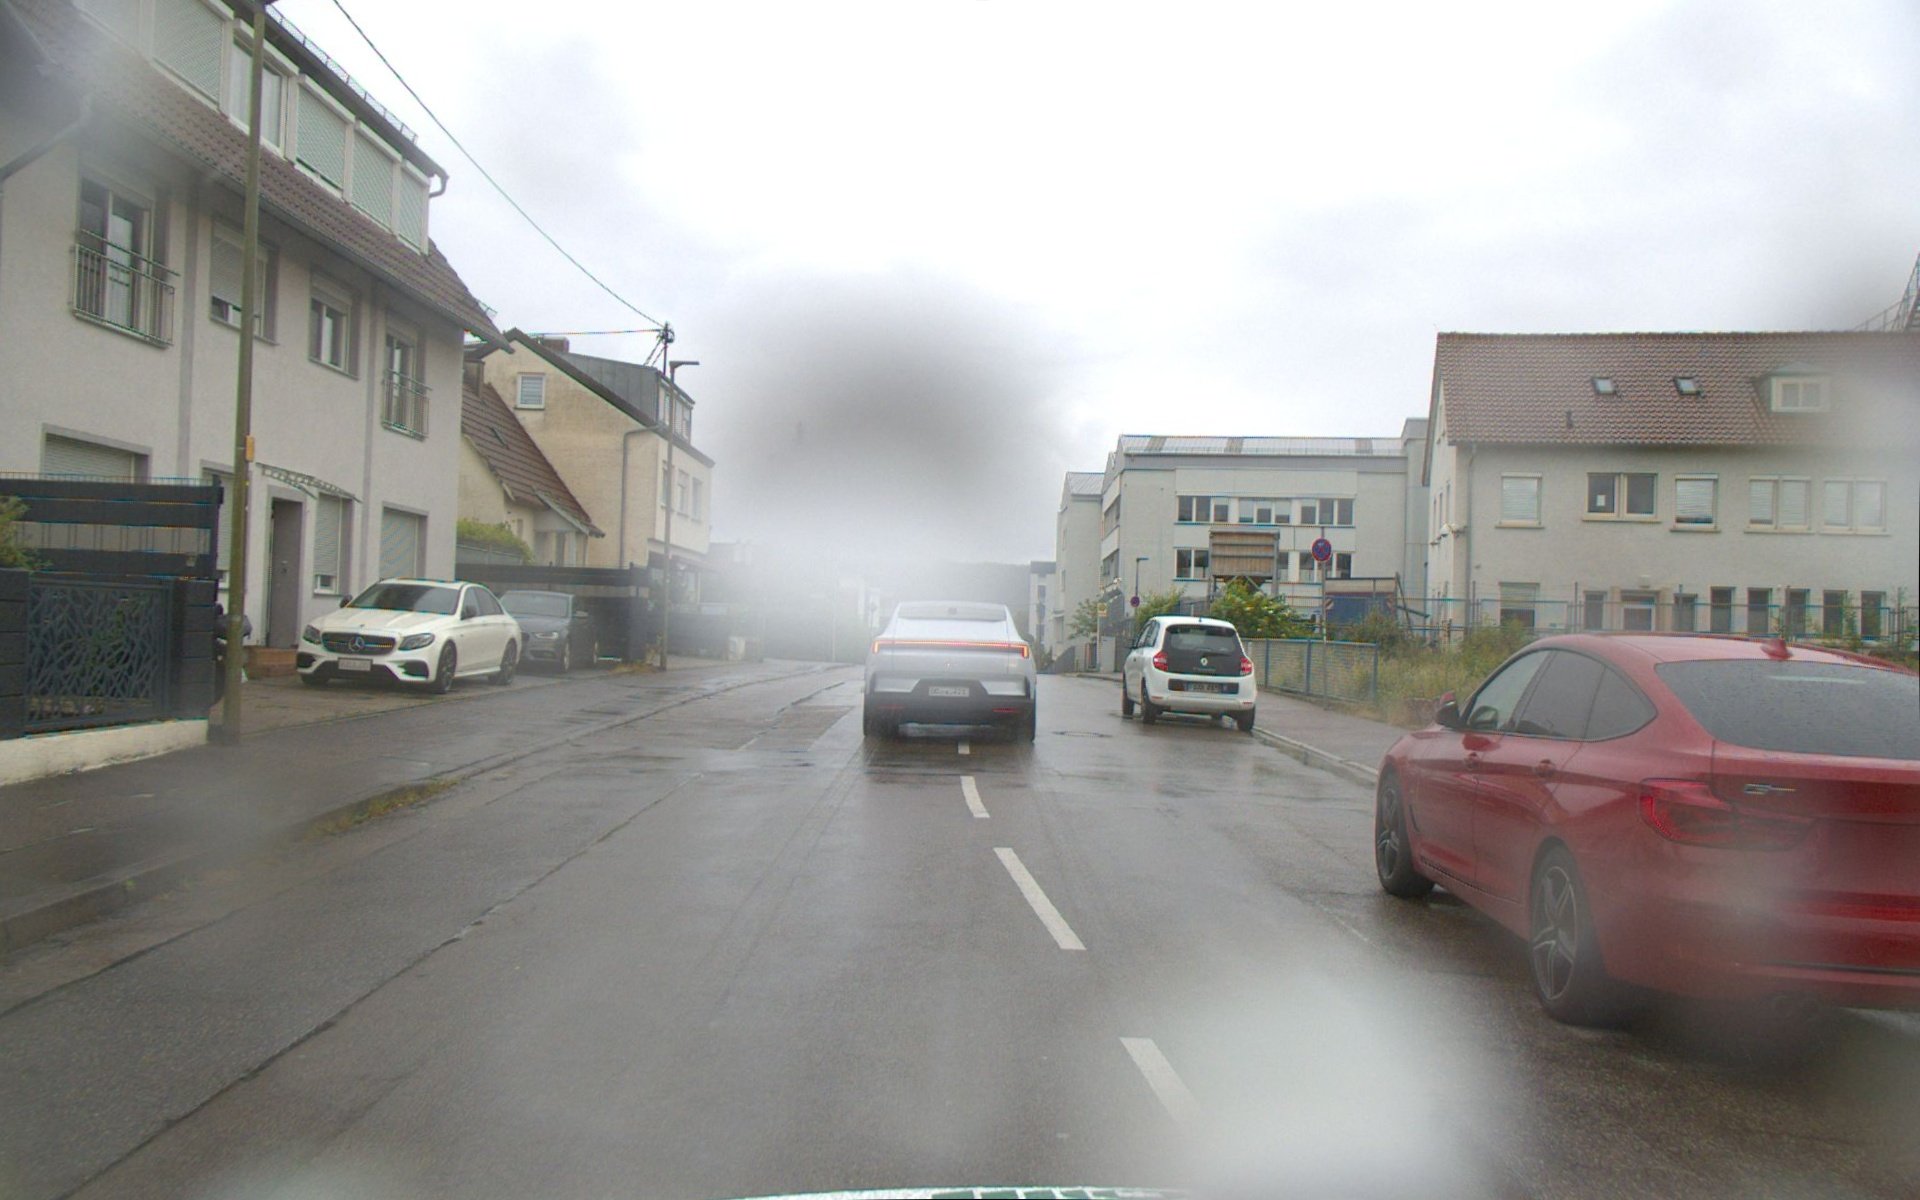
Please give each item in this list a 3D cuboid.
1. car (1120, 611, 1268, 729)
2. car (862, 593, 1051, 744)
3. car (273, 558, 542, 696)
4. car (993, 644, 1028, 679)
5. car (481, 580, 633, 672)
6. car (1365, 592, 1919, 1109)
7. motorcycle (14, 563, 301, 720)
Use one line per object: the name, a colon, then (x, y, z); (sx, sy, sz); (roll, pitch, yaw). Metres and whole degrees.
car: (3.473, 0.998, 25.092); (1.647, 1.584, 3.674); (3, 0, 0)
car: (-0.124, 0.733, 19.905); (1.953, 1.528, 4.668); (2, 0, -2)
car: (-7.468, 0.353, 22.964); (1.953, 1.536, 4.895); (5, 0, 0)
car: (3.222, 3.983, 106.385); (1.954, 2.049, 3.996); (1, -4, -3)
car: (-7.281, 0.441, 30.333); (1.791, 1.392, 4.566); (5, 0, -3)
car: (3.199, 0.823, 7.576); (1.608, 1.602, 4.644); (3, 0, 2)
motorcycle: (-7.734, 0.397, 16.006); (2.314, 1.295, 0.736); (5, -1, 0)
